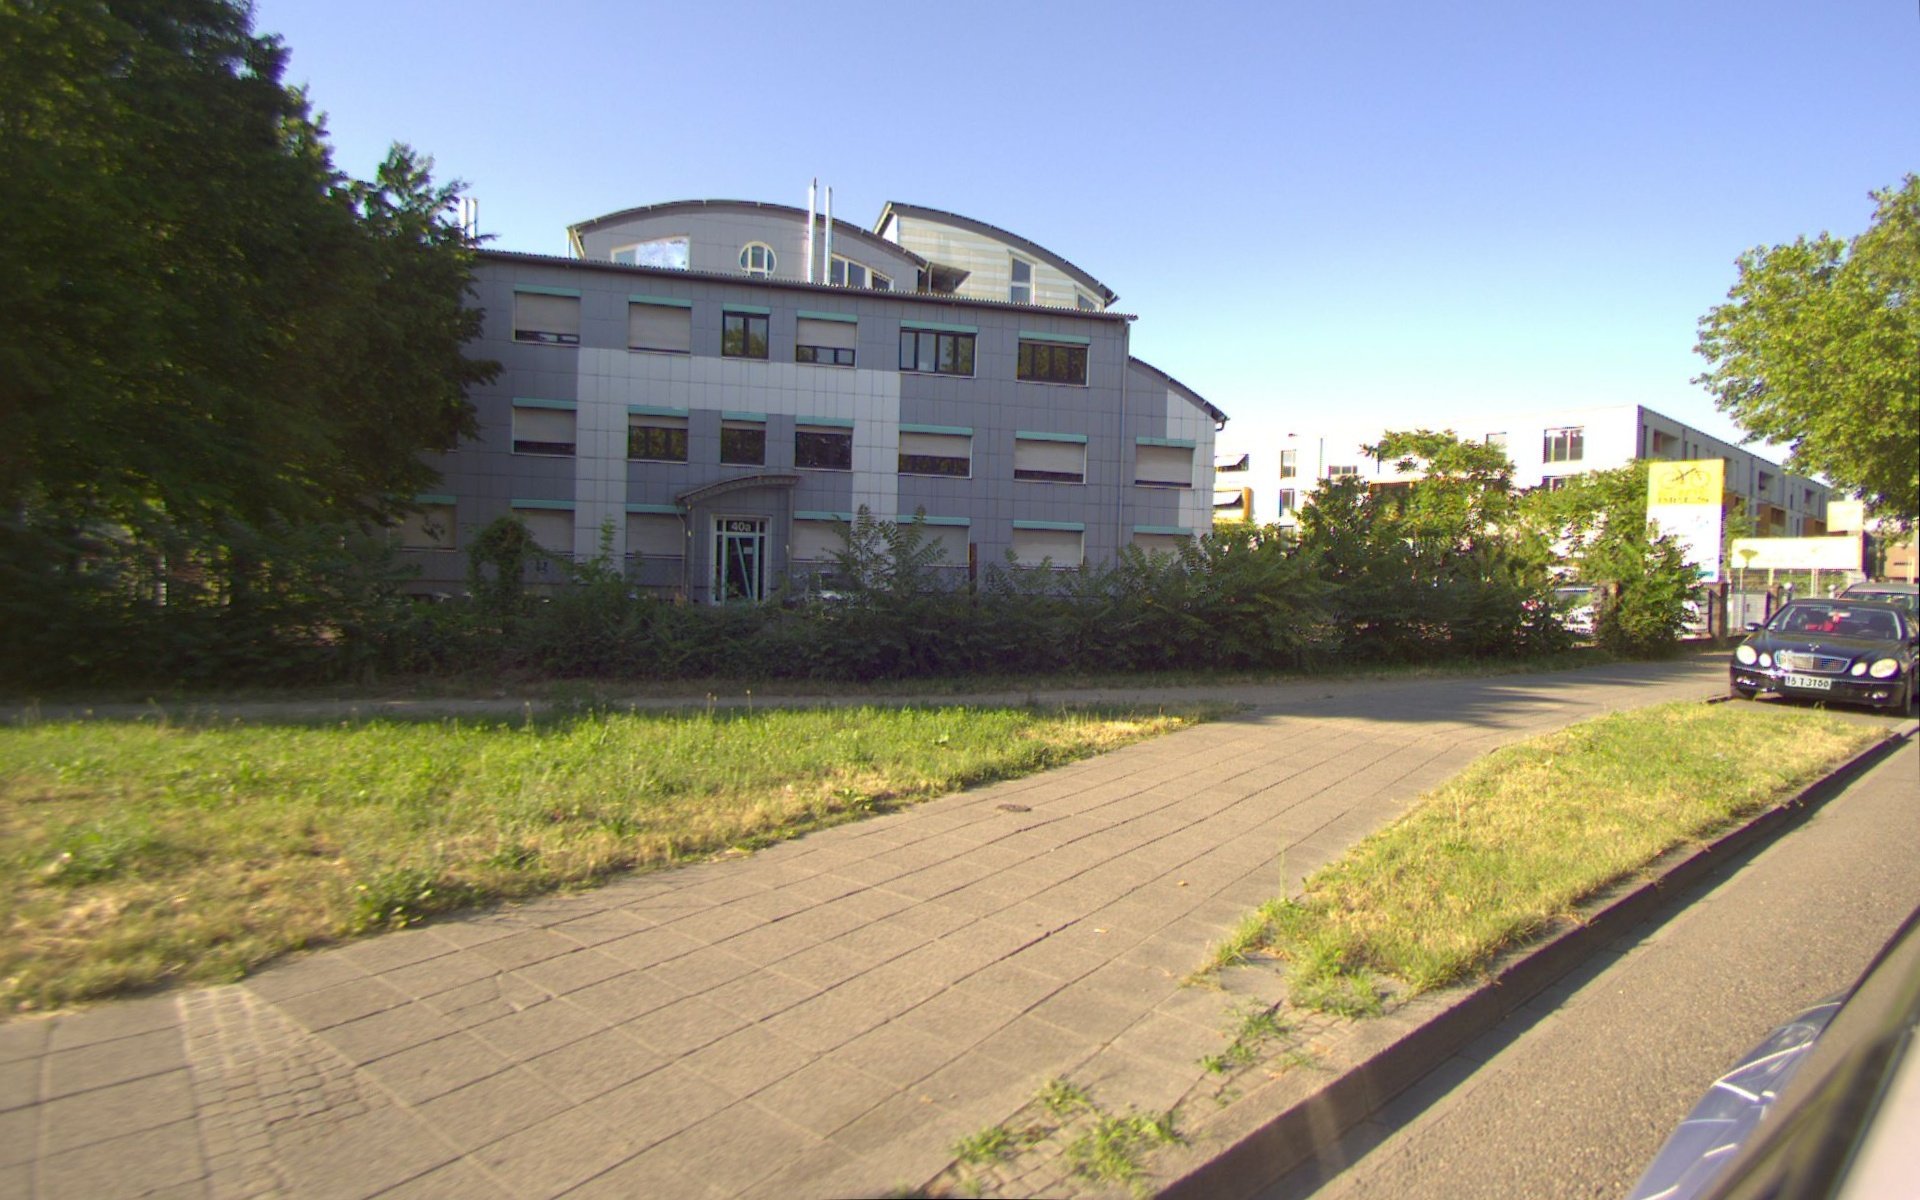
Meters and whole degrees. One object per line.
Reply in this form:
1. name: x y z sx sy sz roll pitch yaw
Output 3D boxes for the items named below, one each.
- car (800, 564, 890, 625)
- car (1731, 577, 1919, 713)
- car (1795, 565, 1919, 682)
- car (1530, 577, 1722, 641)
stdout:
1. car: -3.461 -0.209 29.864 1.869 1.593 4.011 0 3 -18
2. car: 12.484 0.512 14.142 4.608 1.534 1.786 0 3 -41
3. car: 16.453 0.349 17.731 4.832 1.780 1.998 0 3 -41
4. car: 17.991 0.188 27.479 1.808 1.579 3.997 0 1 -39
